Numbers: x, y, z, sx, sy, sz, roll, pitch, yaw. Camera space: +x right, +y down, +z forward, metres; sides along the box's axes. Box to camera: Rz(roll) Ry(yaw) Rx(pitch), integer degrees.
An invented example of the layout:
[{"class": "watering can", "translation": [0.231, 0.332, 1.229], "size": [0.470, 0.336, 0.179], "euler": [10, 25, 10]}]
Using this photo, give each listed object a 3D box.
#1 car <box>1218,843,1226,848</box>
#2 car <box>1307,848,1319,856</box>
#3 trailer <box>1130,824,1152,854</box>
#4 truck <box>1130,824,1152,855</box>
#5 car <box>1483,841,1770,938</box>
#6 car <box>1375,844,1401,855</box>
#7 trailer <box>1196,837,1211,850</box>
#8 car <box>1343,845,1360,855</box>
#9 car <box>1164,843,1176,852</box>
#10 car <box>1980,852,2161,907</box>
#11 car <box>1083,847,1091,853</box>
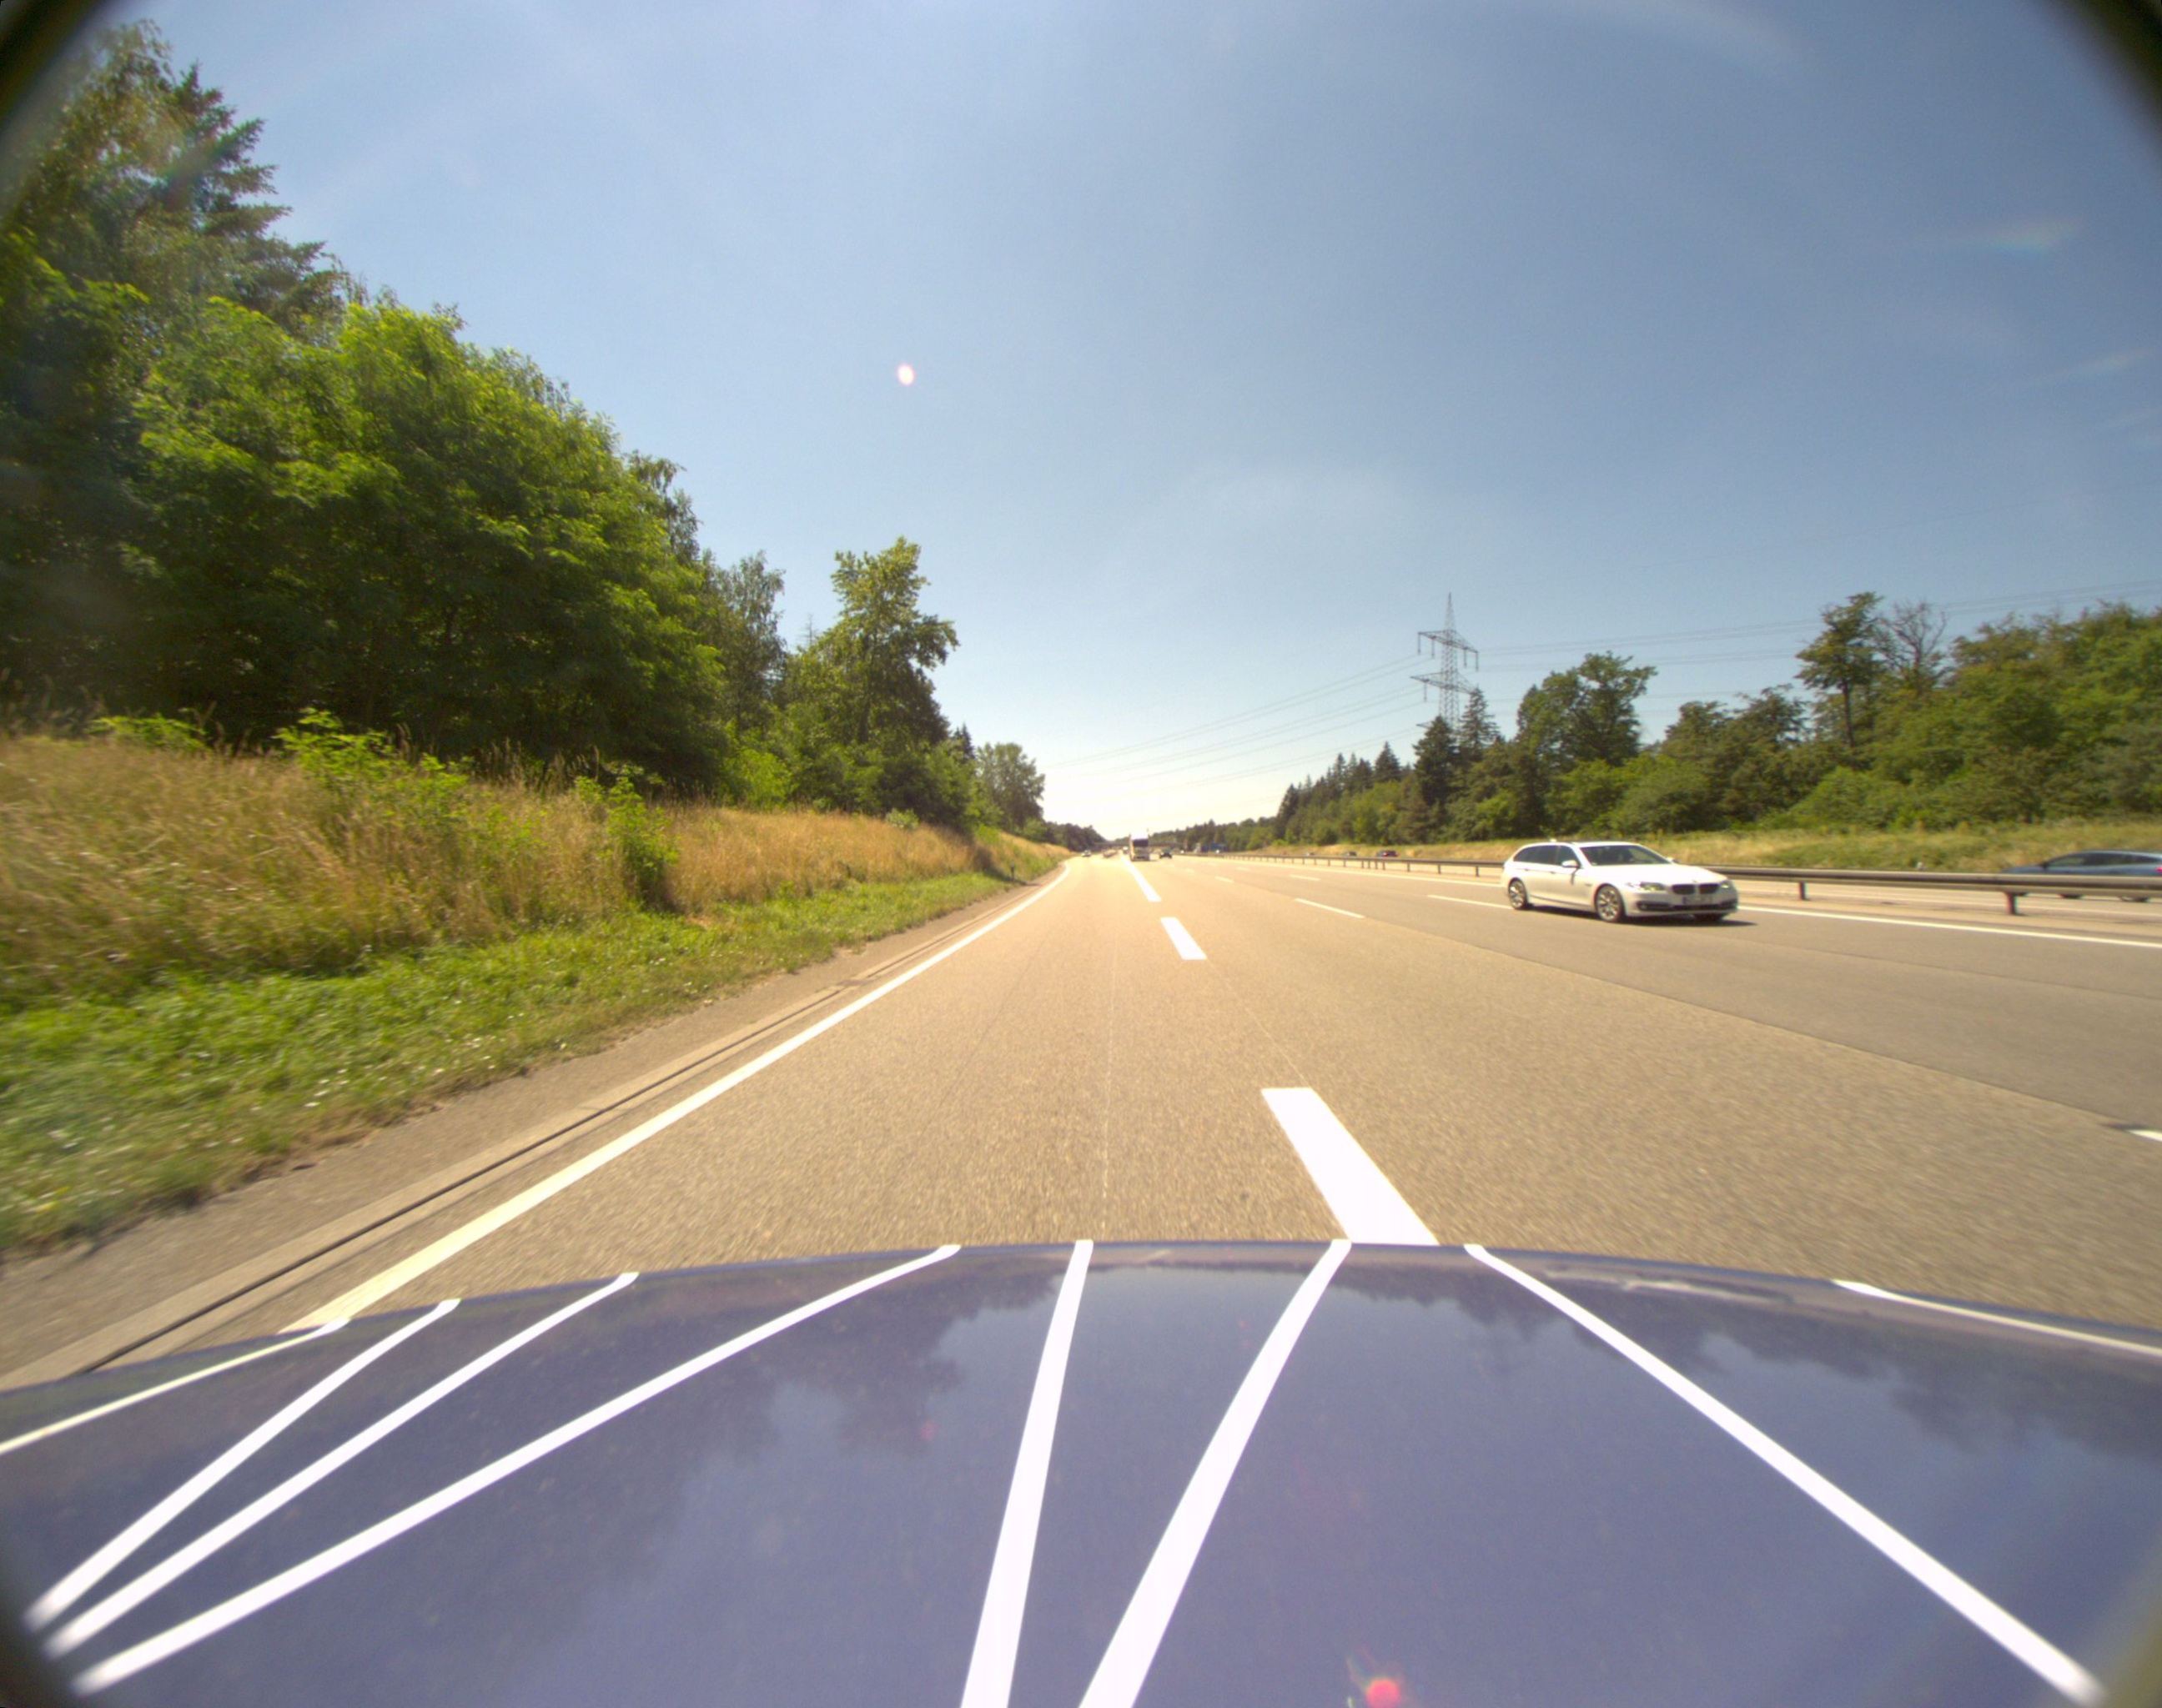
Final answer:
[{"class": "car", "translation": [35.459, -2.157, 191.119], "size": [1.566, 1.348, 3.567], "euler": [-1, 1, 3]}, {"class": "car", "translation": [46.185, -0.465, 151.373], "size": [1.625, 1.469, 3.567], "euler": [-1, 1, 3]}, {"class": "trailer", "translation": [8.784, -2.076, 110.032], "size": [2.981, 4.118, 11.699], "euler": [-1, 0, 5]}, {"class": "truck", "translation": [8.289, -1.960, 104.408], "size": [2.979, 4.118, 5.350], "euler": [-1, 1, 5]}, {"class": "car", "translation": [10.198, 0.530, 14.915], "size": [1.968, 1.495, 5.404], "euler": [-2, 1, 3]}, {"class": "car", "translation": [39.677, -0.595, 98.413], "size": [1.793, 1.412, 4.436], "euler": [-2, 1, 4]}, {"class": "trailer", "translation": [42.820, -3.720, 265.706], "size": [3.210, 4.148, 13.983], "euler": [0, 1, 2]}, {"class": "car", "translation": [43.828, -0.710, 123.269], "size": [1.562, 1.518, 4.001], "euler": [-2, 1, 5]}, {"class": "car", "translation": [15.067, -1.156, 128.522], "size": [1.898, 1.417, 4.262], "euler": [-2, 1, 5]}, {"class": "car", "translation": [28.866, 0.682, 21.387], "size": [1.695, 1.383, 4.676], "euler": [1, 1, 3]}, {"class": "car", "translation": [1.654, -1.096, 211.944], "size": [1.898, 1.417, 4.262], "euler": [-2, 1, 5]}]
